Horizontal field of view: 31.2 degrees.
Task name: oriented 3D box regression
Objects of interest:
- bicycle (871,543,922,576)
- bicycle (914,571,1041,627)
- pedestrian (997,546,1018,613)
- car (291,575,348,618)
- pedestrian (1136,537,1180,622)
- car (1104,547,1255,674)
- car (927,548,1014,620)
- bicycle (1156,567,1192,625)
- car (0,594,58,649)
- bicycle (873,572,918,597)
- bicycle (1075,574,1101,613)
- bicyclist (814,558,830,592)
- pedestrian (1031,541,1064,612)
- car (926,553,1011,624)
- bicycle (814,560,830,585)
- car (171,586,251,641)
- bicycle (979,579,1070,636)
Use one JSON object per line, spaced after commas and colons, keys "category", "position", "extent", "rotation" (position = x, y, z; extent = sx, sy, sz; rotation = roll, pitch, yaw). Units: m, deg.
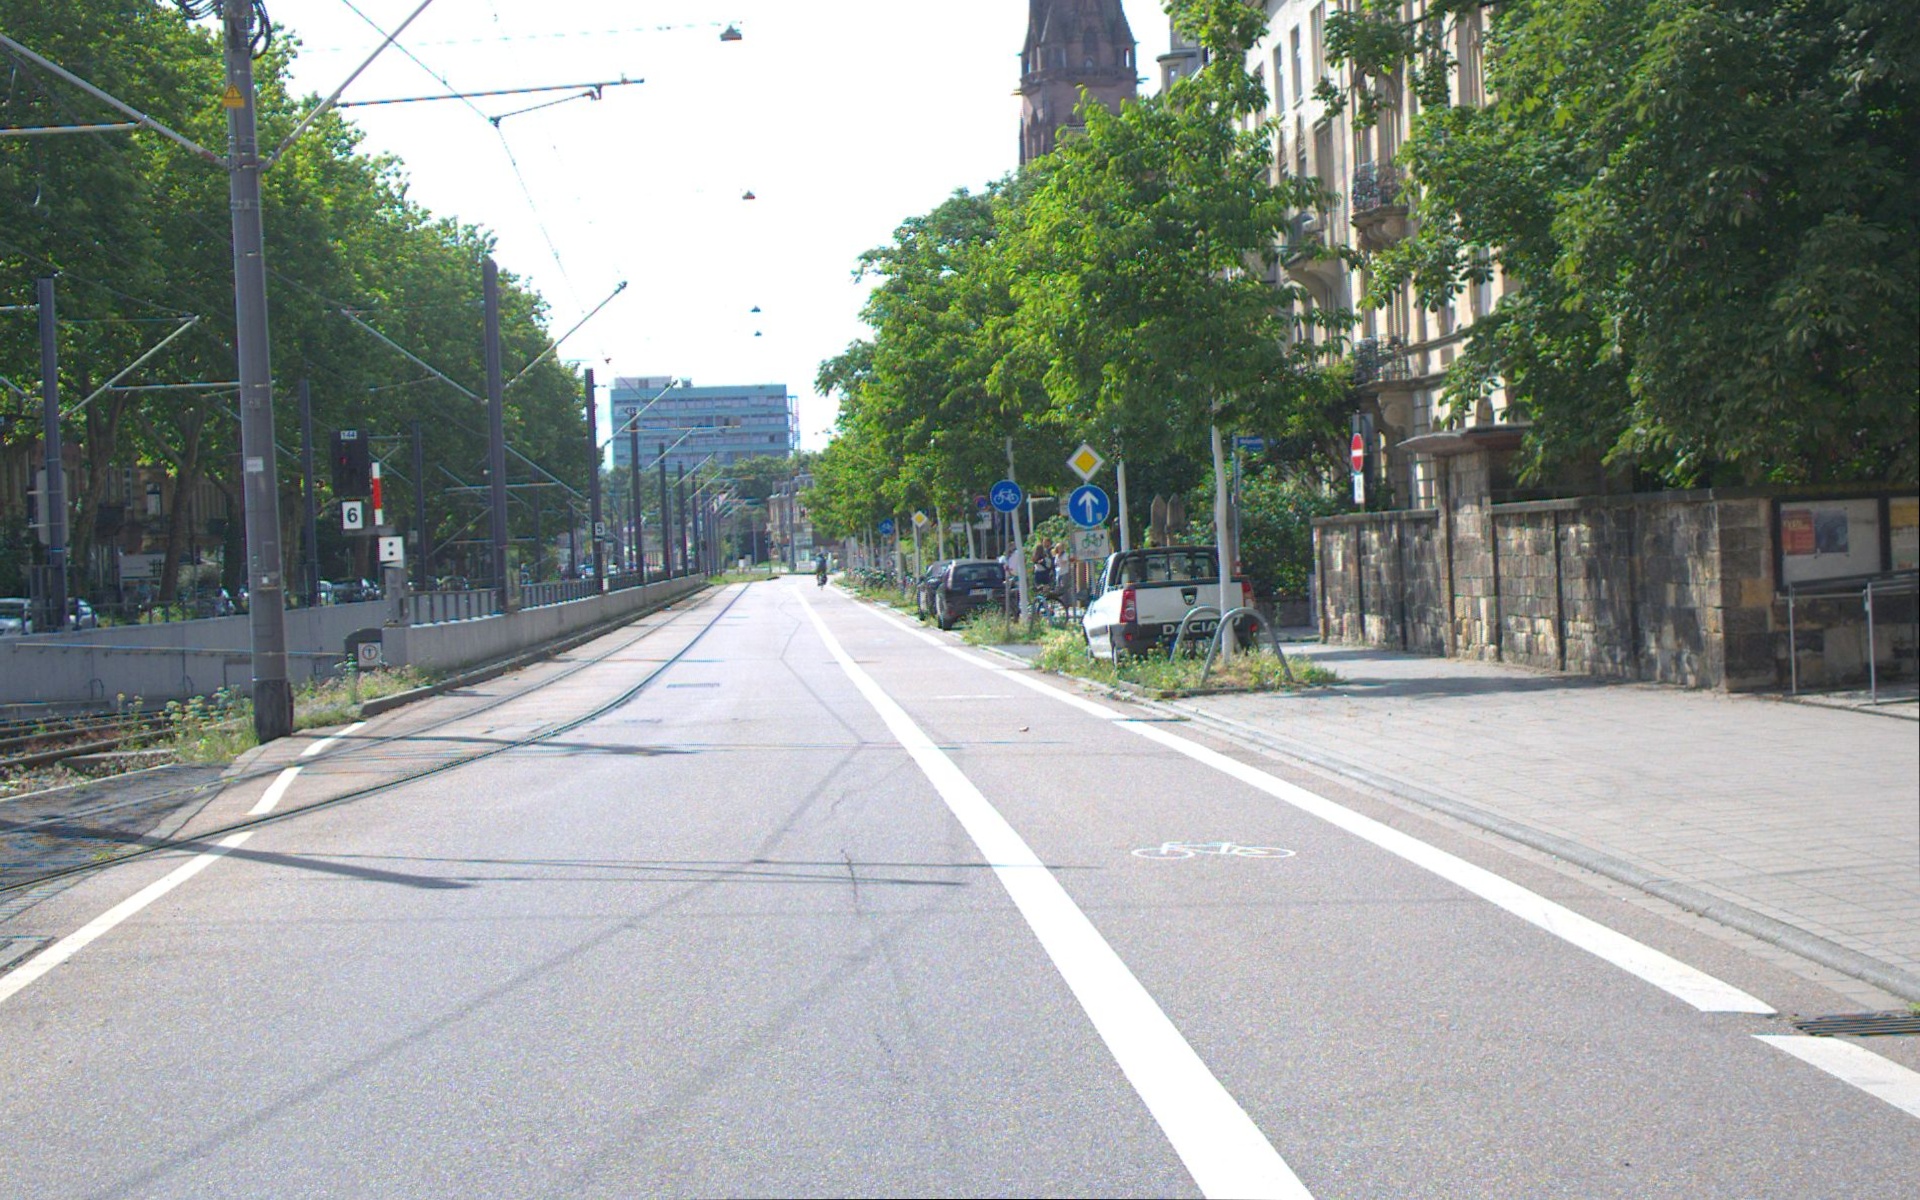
{"category": "bicycle", "position": [-2.457, -1.562, 133.198], "extent": [1.816, 1.141, 0.652], "rotation": [-5, 1, -13]}
{"category": "bicycle", "position": [0.422, -0.036, 83.642], "extent": [2.945, 1.242, 0.793], "rotation": [-2, 1, -15]}
{"category": "pedestrian", "position": [1.232, -0.522, 89.013], "extent": [0.318, 1.701, 0.460], "rotation": [-5, 1, 11]}
{"category": "car", "position": [-28.764, -0.174, 154.504], "extent": [1.838, 1.722, 4.001], "rotation": [-5, 1, -3]}
{"category": "pedestrian", "position": [3.888, -0.408, 67.422], "extent": [0.723, 1.623, 0.725], "rotation": [-2, 0, -3]}
{"category": "car", "position": [2.651, 0.093, 40.947], "extent": [1.669, 1.411, 3.843], "rotation": [0, 1, 5]}
{"category": "car", "position": [0.201, -0.373, 77.122], "extent": [1.686, 1.497, 4.708], "rotation": [-2, 1, -2]}
{"category": "bicycle", "position": [4.212, -0.082, 67.709], "extent": [0.470, 1.104, 1.711], "rotation": [-2, 1, -3]}
{"category": "car", "position": [-24.727, 0.590, 89.533], "extent": [1.497, 1.299, 3.491], "rotation": [-5, 1, -1]}
{"category": "bicycle", "position": [-2.737, -0.670, 145.854], "extent": [1.816, 0.899, 0.652], "rotation": [-5, 1, -6]}
{"category": "bicycle", "position": [3.184, -0.174, 85.652], "extent": [0.427, 0.936, 1.808], "rotation": [-5, 1, -3]}
{"category": "bicyclist", "position": [-7.096, -1.270, 176.788], "extent": [0.770, 1.724, 1.026], "rotation": [-2, 1, -2]}
{"category": "pedestrian", "position": [2.290, -0.625, 89.874], "extent": [0.669, 1.798, 0.319], "rotation": [-5, 1, -4]}
{"category": "car", "position": [0.210, -0.267, 74.376], "extent": [1.668, 1.411, 3.585], "rotation": [-2, 1, 2]}
{"category": "bicycle", "position": [-7.089, -1.405, 176.670], "extent": [0.799, 1.232, 2.778], "rotation": [-2, 1, -2]}
{"category": "car", "position": [-26.556, 0.455, 122.034], "extent": [1.718, 1.685, 3.729], "rotation": [-4, 2, 3]}
{"category": "bicycle", "position": [1.277, 0.148, 68.078], "extent": [1.705, 1.066, 0.471], "rotation": [-2, 0, -8]}
